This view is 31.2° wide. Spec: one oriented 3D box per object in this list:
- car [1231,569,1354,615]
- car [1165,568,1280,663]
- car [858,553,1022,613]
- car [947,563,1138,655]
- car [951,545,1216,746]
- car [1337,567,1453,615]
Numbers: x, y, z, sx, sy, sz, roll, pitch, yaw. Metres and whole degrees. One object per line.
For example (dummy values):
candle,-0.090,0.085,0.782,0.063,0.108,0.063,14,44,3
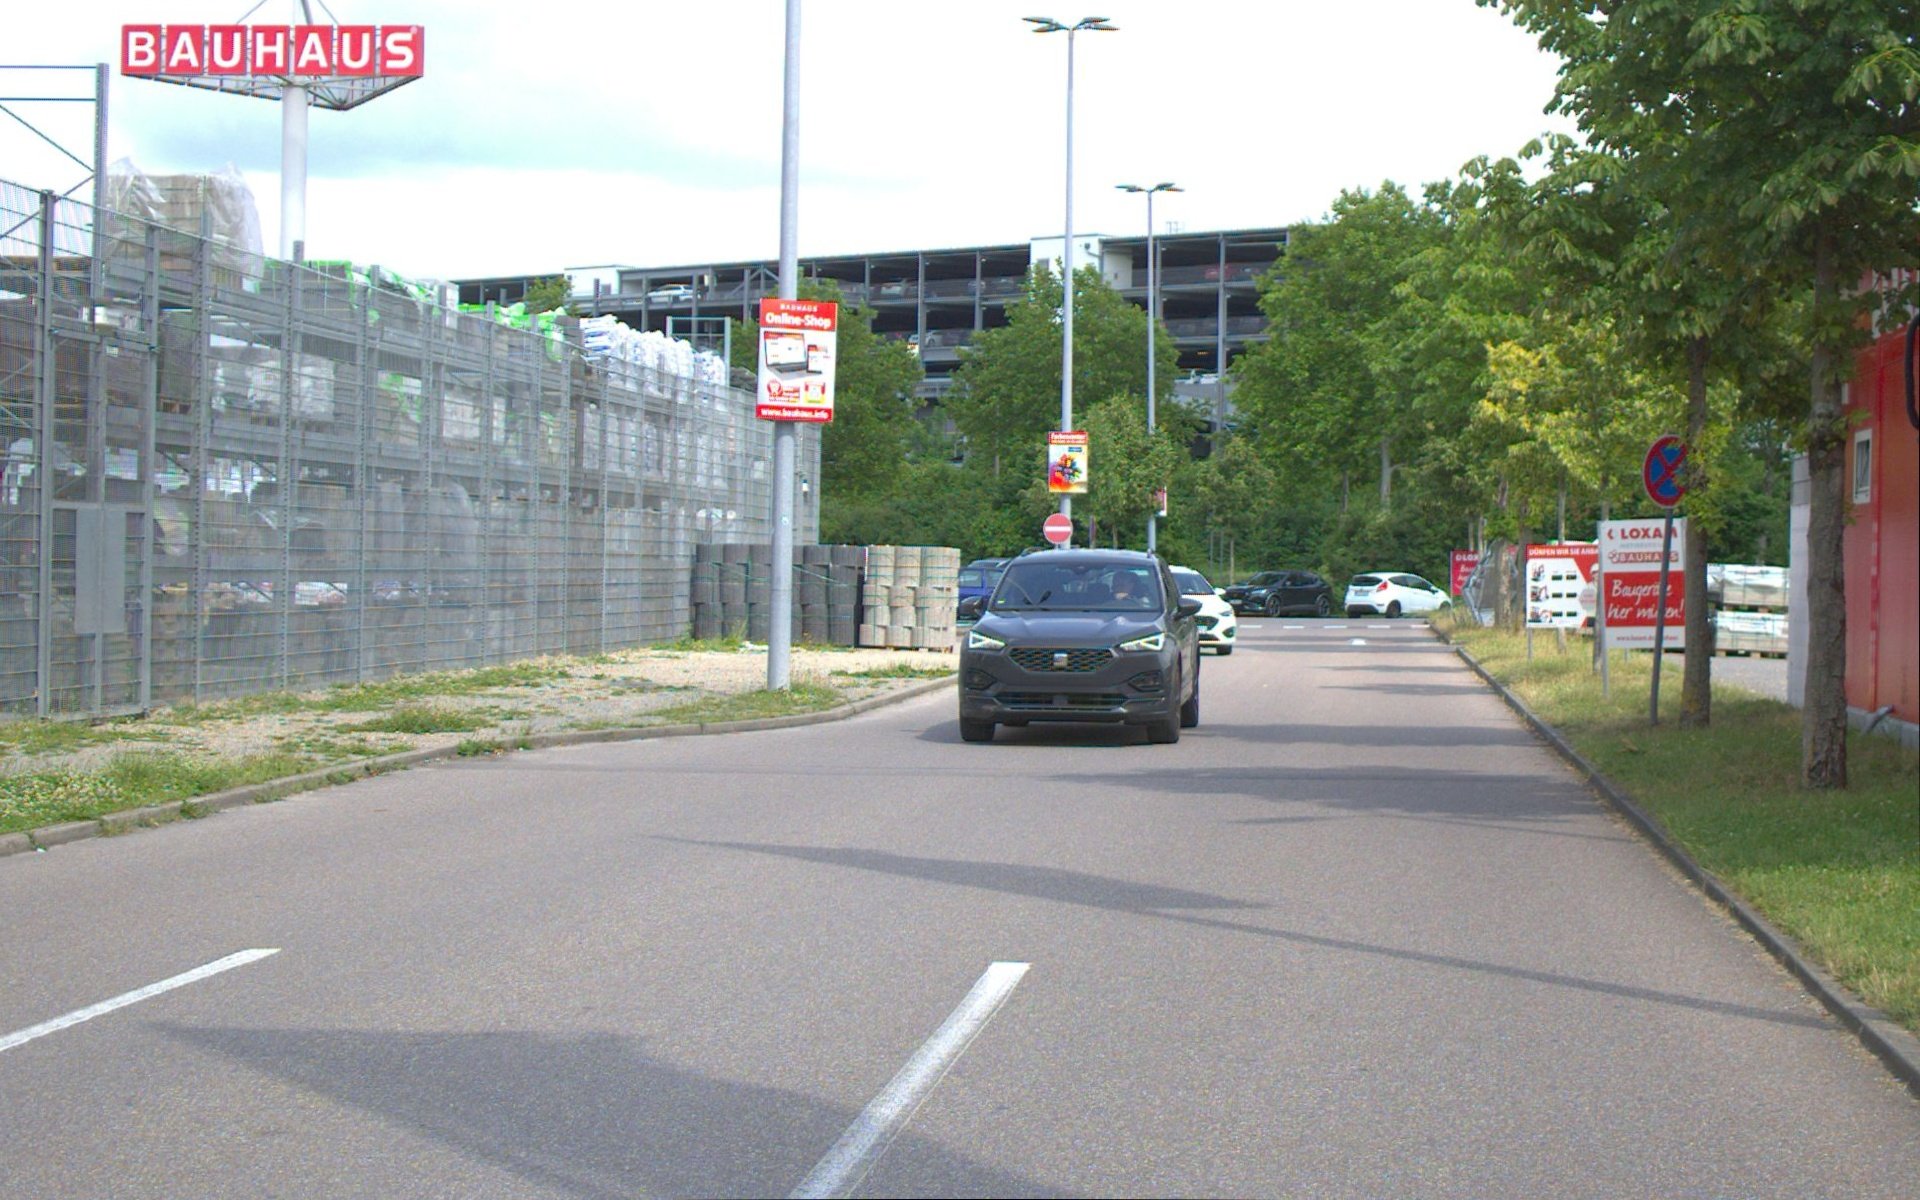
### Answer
car,10.524,-0.269,108.597,1.732,1.405,4.232,1,1,41
car,4.339,0.231,57.285,1.804,1.459,4.328,1,1,3
car,-0.461,-0.424,82.420,3.751,1.363,1.621,1,1,7
car,1.423,0.138,59.280,2.889,1.510,1.531,1,1,27
car,1.171,0.337,30.382,1.916,1.612,4.372,0,1,8
car,13.343,-0.279,105.322,3.548,1.407,1.669,0,1,-44
